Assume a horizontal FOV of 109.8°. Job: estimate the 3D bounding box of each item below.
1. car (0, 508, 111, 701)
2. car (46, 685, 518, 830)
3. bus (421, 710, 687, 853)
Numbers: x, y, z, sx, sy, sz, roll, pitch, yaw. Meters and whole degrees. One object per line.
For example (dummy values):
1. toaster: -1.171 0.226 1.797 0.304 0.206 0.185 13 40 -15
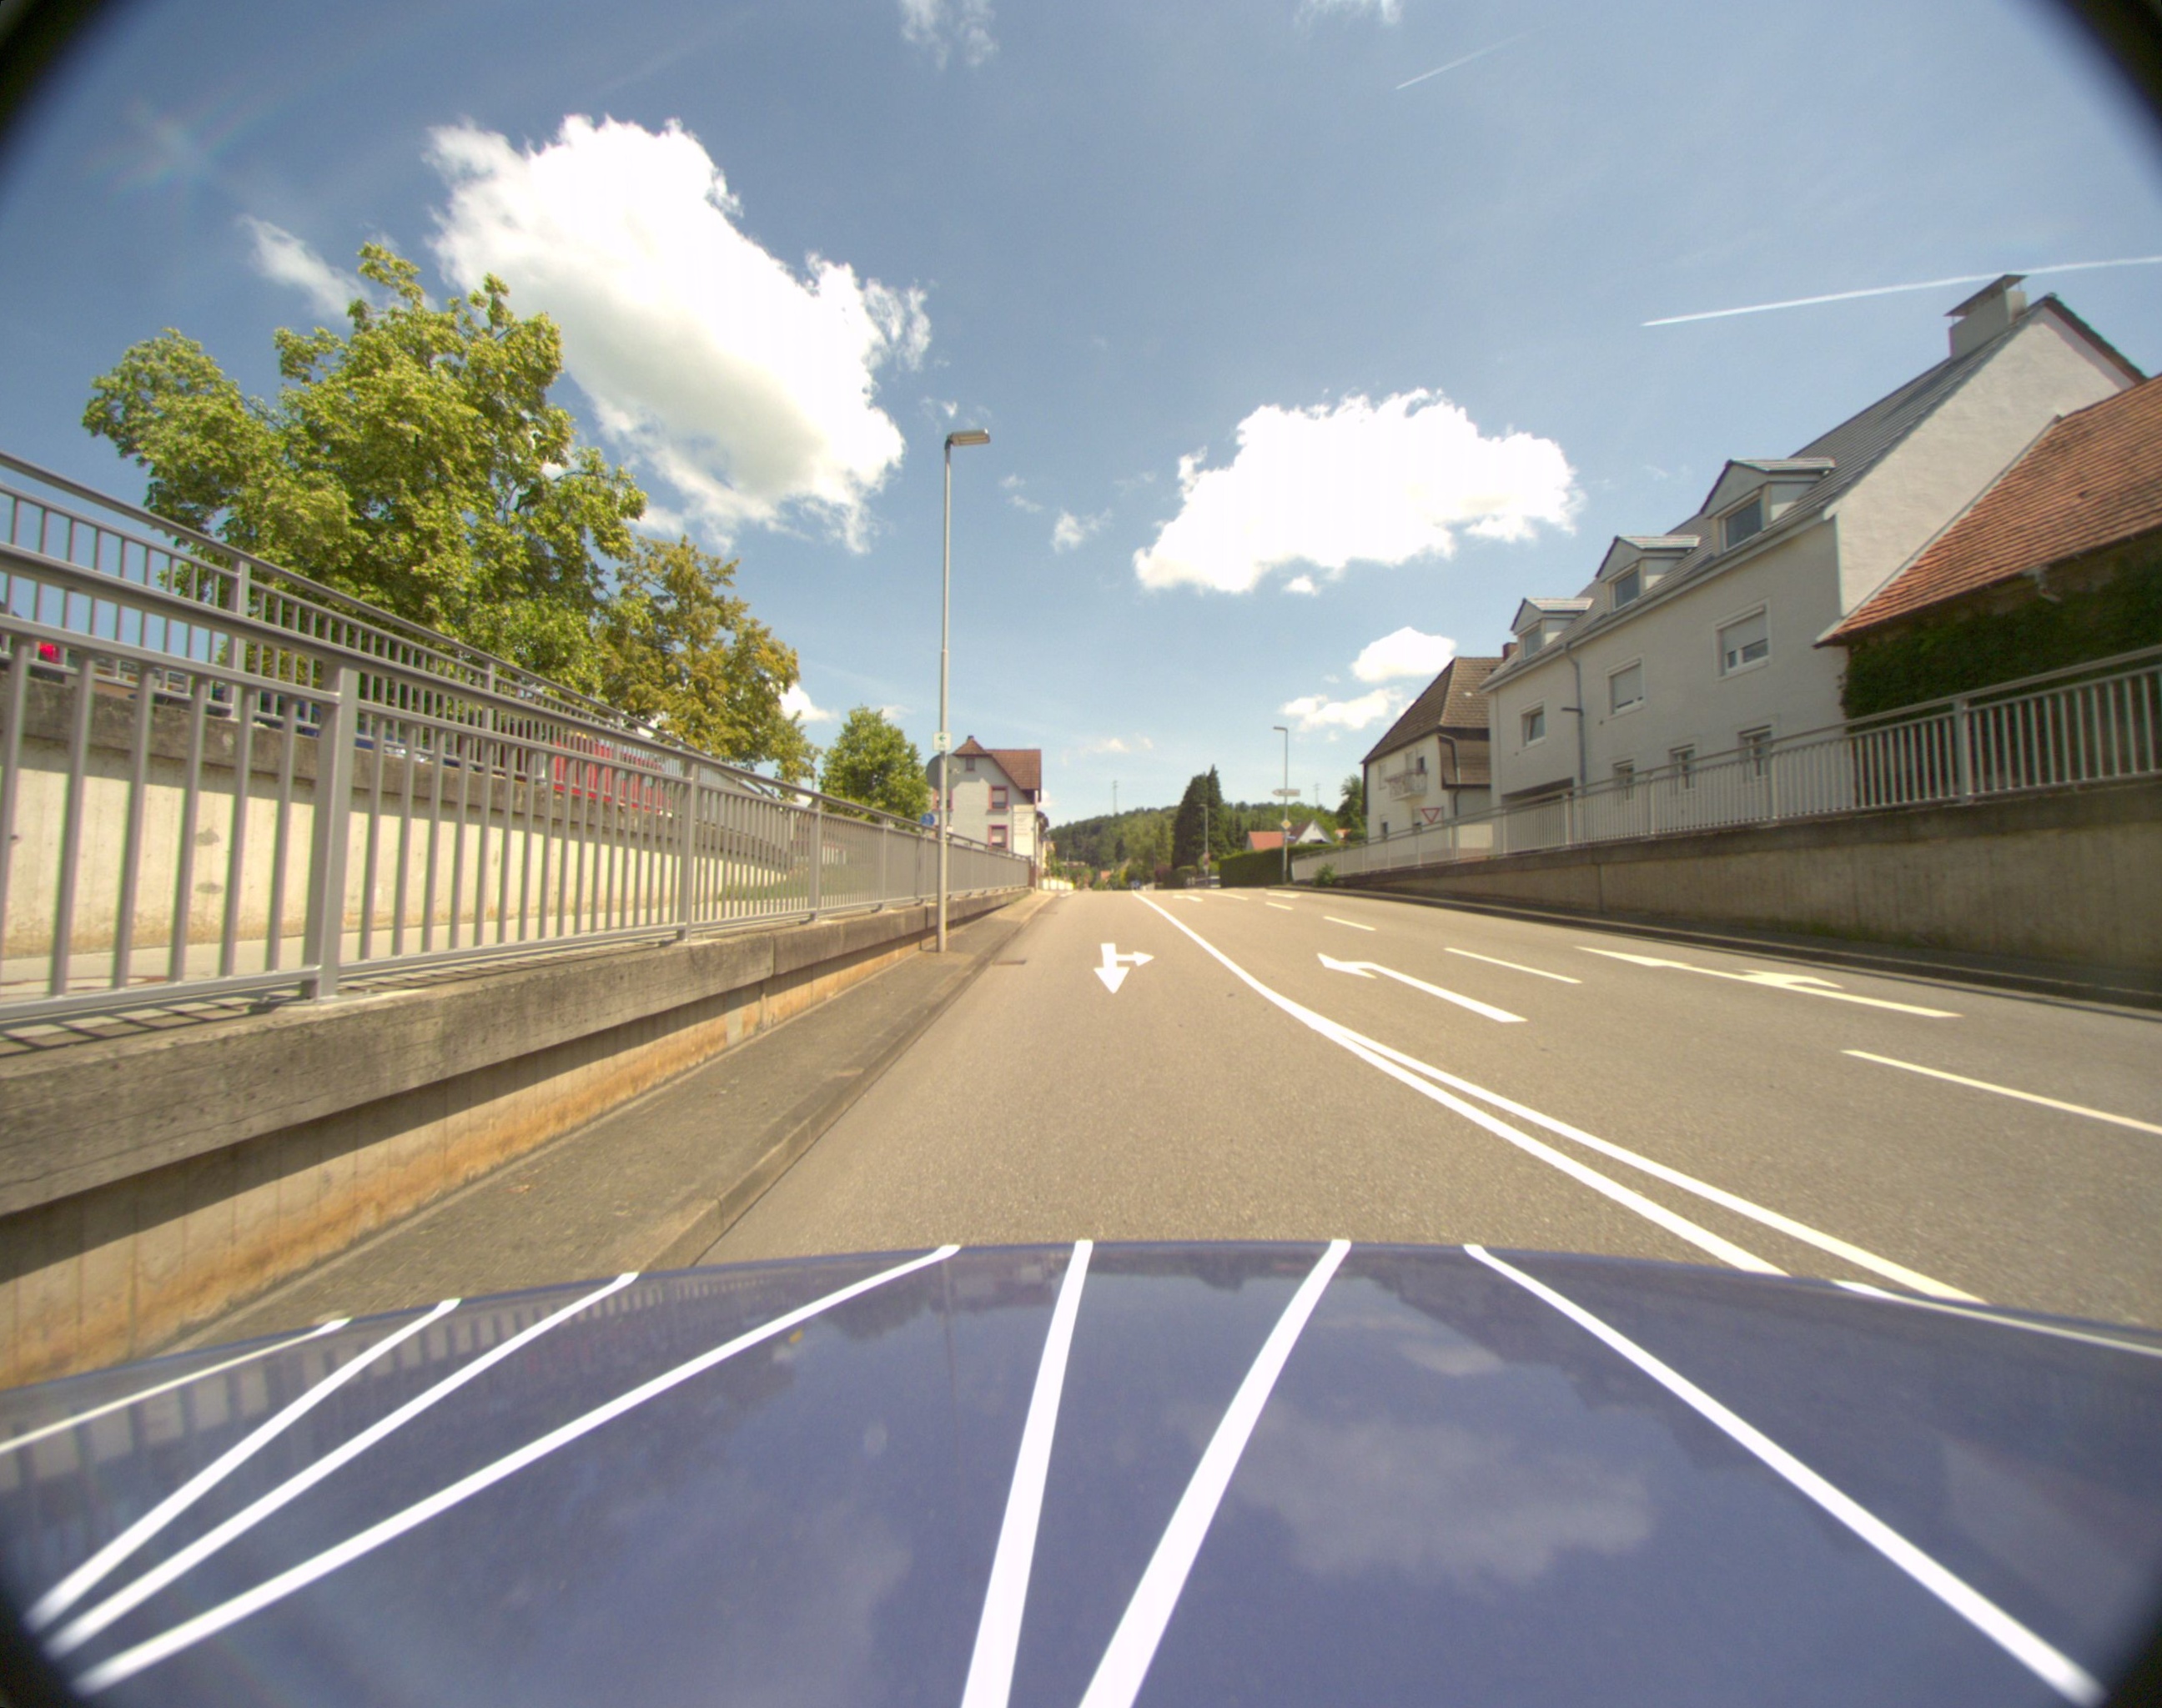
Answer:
1. car: -10.006 -1.938 5.413 3.996 1.299 1.773 1 -1 2
2. car: -10.293 -1.225 10.142 4.000 1.620 1.862 -2 0 -8
3. bus: -11.469 -1.403 17.238 2.194 2.351 5.367 1 -4 0
